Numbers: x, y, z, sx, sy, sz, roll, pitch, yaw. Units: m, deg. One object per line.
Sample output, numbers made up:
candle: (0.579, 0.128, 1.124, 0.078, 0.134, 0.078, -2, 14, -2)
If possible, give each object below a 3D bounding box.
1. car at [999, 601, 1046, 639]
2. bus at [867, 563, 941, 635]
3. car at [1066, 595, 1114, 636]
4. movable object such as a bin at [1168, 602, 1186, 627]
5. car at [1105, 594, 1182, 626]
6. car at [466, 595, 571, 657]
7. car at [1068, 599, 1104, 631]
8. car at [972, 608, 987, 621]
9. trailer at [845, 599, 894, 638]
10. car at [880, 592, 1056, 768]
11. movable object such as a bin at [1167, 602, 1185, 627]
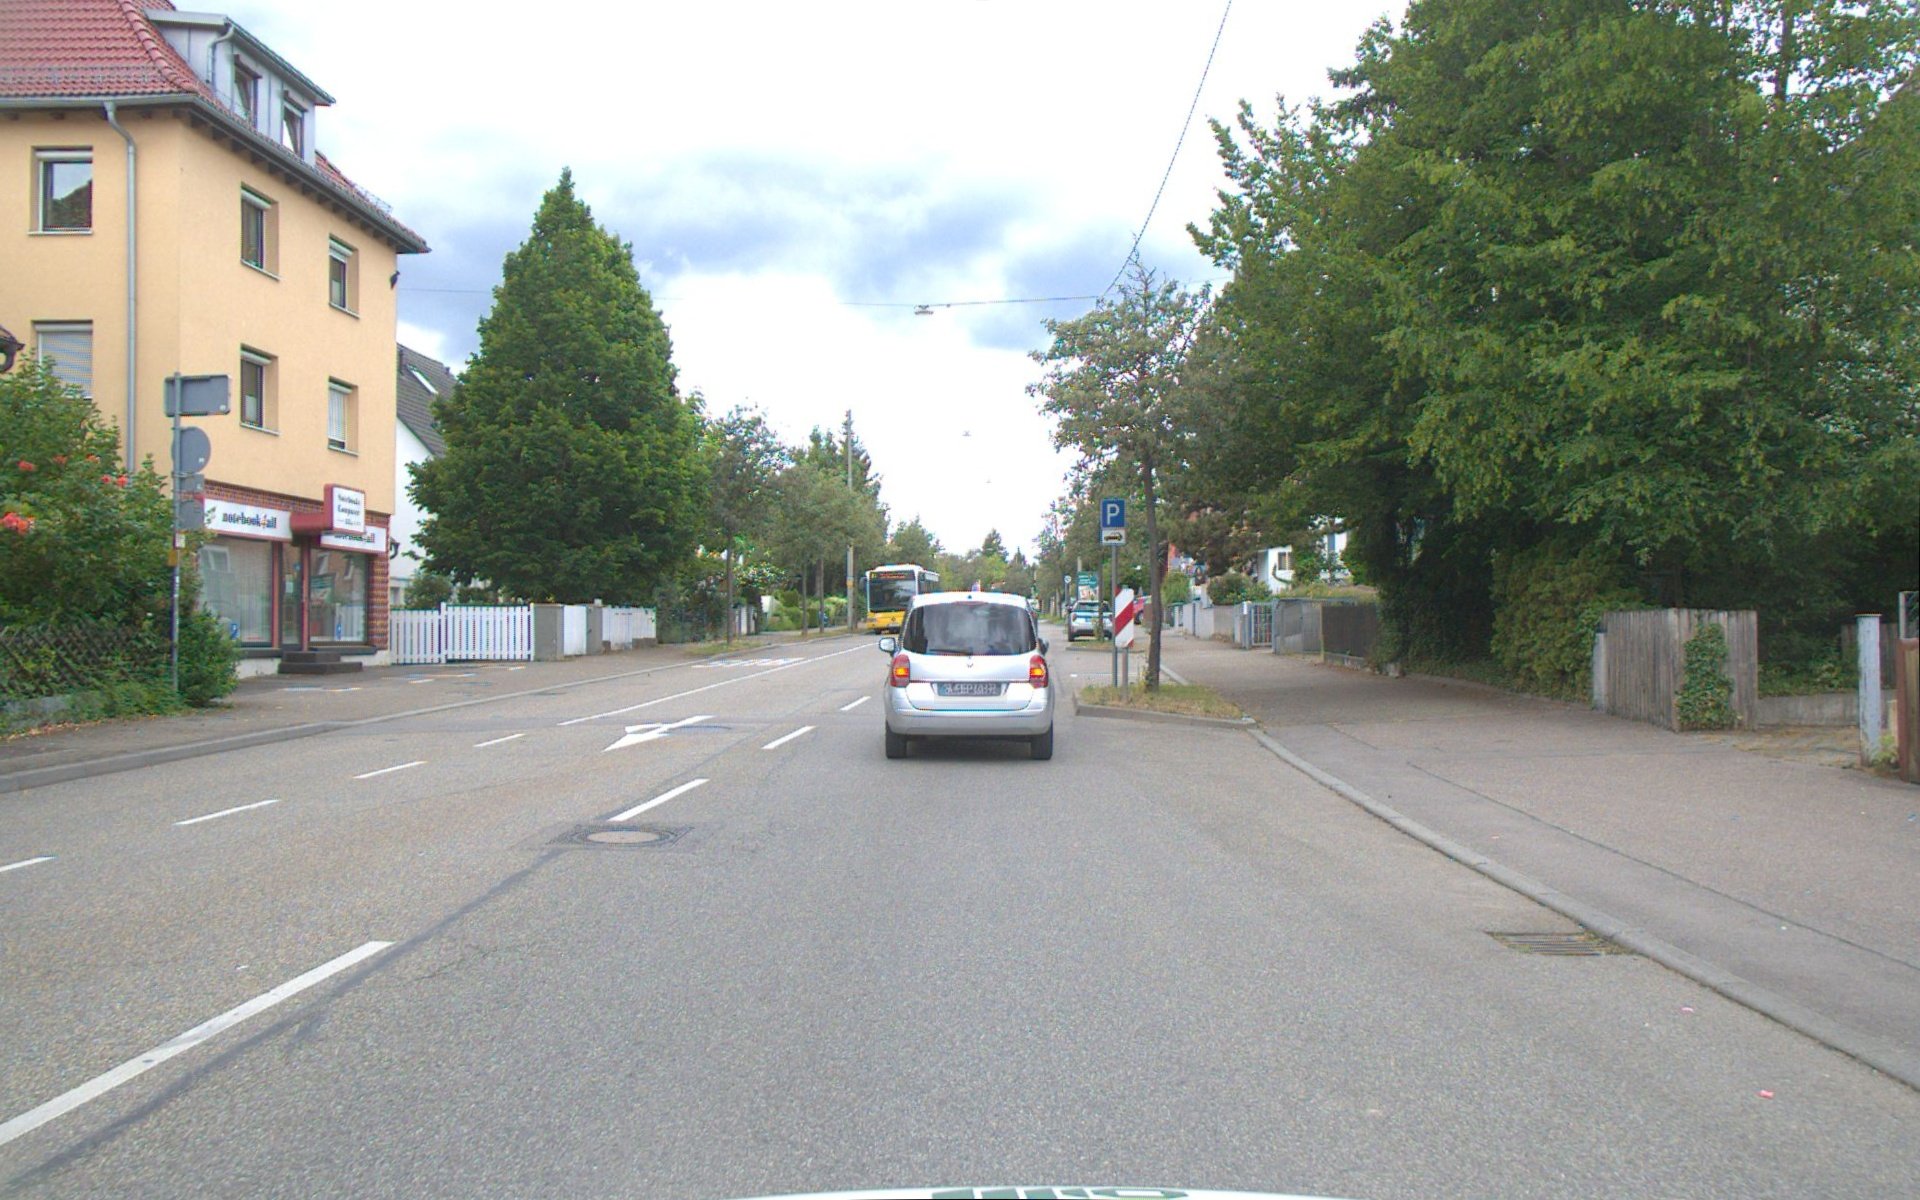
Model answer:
car: (2.945, 0.936, 77.523, 1.790, 1.705, 3.577, -1, -1, 9)
bus: (-2.596, -0.031, 80.688, 2.577, 3.140, 12.073, -2, 0, 3)
car: (4.592, 0.574, 58.939, 1.615, 1.407, 4.001, 0, -1, 3)
movable object such as a bin: (9.912, 0.677, 75.617, 0.760, 1.123, 0.691, -1, 0, 2)
car: (10.114, 0.557, 91.232, 3.910, 1.522, 1.808, -3, 0, -6)
car: (-12.583, 0.702, 47.410, 1.770, 1.591, 4.617, -2, 0, -1)
car: (5.925, 0.689, 77.620, 1.627, 1.417, 3.670, 0, 0, 5)
car: (2.588, 1.959, 219.697, 1.867, 1.646, 3.998, 0, -1, -2)
trailer: (-5.056, 1.067, 93.198, 2.264, 2.123, 5.873, 1, -1, 1)
car: (0.116, 0.778, 17.237, 1.596, 1.584, 4.000, 1, -1, 1)
movable object such as a bin: (9.983, 0.656, 76.372, 0.760, 1.123, 0.691, -1, 0, 2)
